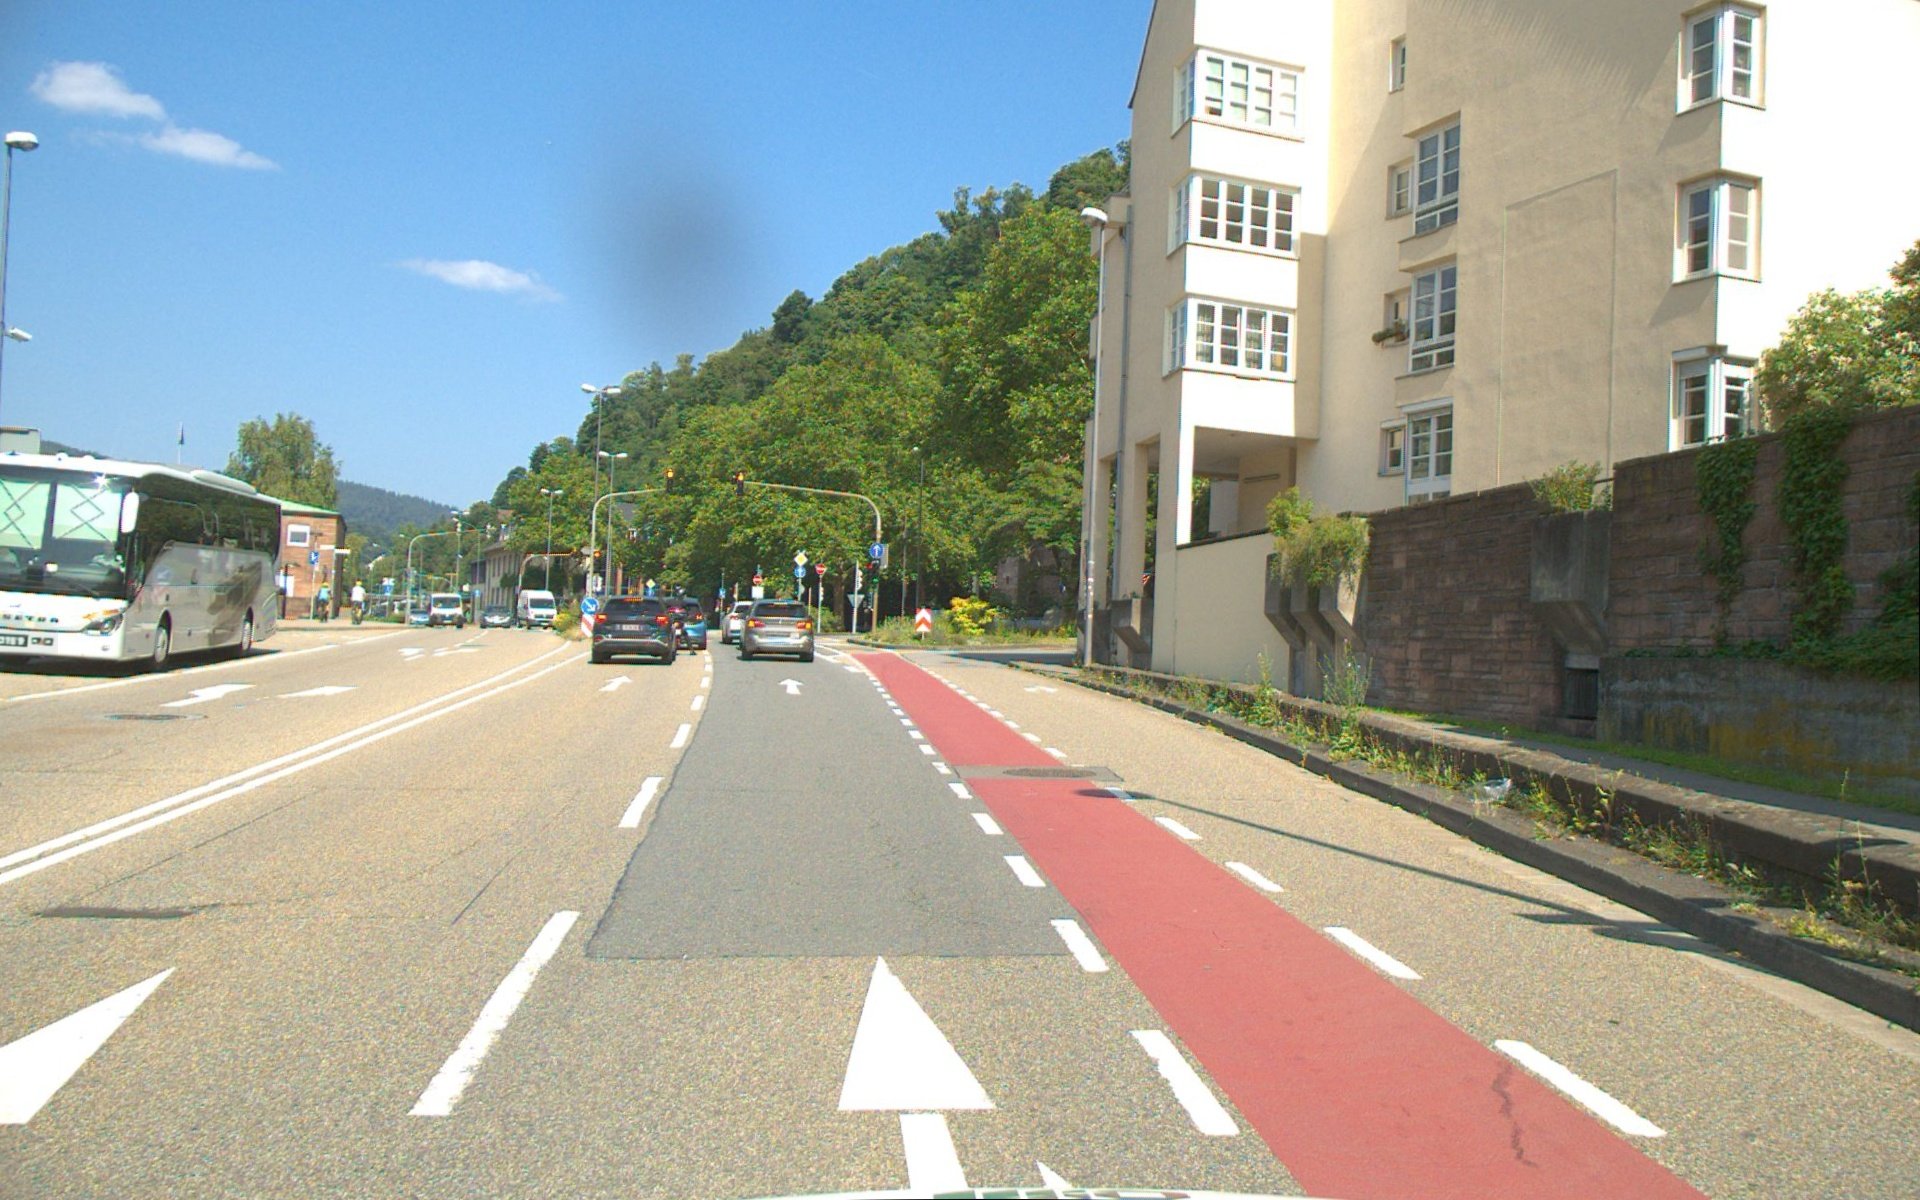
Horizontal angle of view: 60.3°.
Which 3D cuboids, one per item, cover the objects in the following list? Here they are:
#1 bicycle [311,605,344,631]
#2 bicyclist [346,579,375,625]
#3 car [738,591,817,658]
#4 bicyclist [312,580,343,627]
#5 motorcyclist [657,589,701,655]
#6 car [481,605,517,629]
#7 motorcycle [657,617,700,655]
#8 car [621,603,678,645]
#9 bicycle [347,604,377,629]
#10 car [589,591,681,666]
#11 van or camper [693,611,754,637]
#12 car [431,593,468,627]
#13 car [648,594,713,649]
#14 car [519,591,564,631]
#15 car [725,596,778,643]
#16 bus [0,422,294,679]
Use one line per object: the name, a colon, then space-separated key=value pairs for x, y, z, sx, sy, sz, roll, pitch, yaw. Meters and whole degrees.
bicycle: x=-28.079 y=0.788 z=73.432 sx=1.194 sy=1.109 sz=2.584 roll=1 pitch=0 yaw=-18
bicyclist: x=-27.165 y=0.094 z=74.987 sx=1.193 sy=2.049 sz=1.113 roll=0 pitch=0 yaw=-18
car: x=-4.734 y=0.636 z=42.754 sx=1.853 sy=1.547 sz=4.298 roll=3 pitch=-1 yaw=-7
bicyclist: x=-28.046 y=0.151 z=73.389 sx=1.193 sy=2.049 sz=1.113 roll=1 pitch=0 yaw=-18
motorcyclist: x=-7.461 y=0.573 z=43.977 sx=1.055 sy=1.714 sz=1.154 roll=1 pitch=0 yaw=-8
car: x=-30.583 y=1.124 z=109.772 sx=1.958 sy=1.457 sz=4.155 roll=1 pitch=0 yaw=-12
motorcycle: x=-7.486 y=0.945 z=44.102 sx=1.018 sy=0.935 sz=2.600 roll=1 pitch=0 yaw=-8
car: x=-10.846 y=0.813 z=57.949 sx=1.832 sy=1.382 sz=3.991 roll=1 pitch=0 yaw=-10
bicycle: x=-27.070 y=0.738 z=74.866 sx=1.194 sy=1.109 sz=2.584 roll=0 pitch=0 yaw=-18
car: x=-7.364 y=0.635 z=37.778 sx=1.835 sy=1.540 sz=4.142 roll=3 pitch=-1 yaw=-9
van or camper: x=-19.037 y=1.918 z=133.194 sx=4.445 sy=1.935 sz=2.002 roll=1 pitch=0 yaw=8
car: x=-33.463 y=0.611 z=108.273 sx=2.180 sy=2.115 sz=5.017 roll=1 pitch=0 yaw=-18
car: x=-8.553 y=0.627 z=50.621 sx=1.832 sy=1.589 sz=3.991 roll=1 pitch=0 yaw=-10
car: x=-28.680 y=0.716 z=113.210 sx=2.348 sy=2.621 sz=6.019 roll=1 pitch=-1 yaw=-20
car: x=-7.398 y=0.686 z=58.447 sx=1.752 sy=1.559 sz=4.727 roll=1 pitch=-1 yaw=-8
bus: x=-15.647 y=-0.792 z=31.820 sx=2.905 sy=3.867 sz=13.202 roll=2 pitch=0 yaw=-12
